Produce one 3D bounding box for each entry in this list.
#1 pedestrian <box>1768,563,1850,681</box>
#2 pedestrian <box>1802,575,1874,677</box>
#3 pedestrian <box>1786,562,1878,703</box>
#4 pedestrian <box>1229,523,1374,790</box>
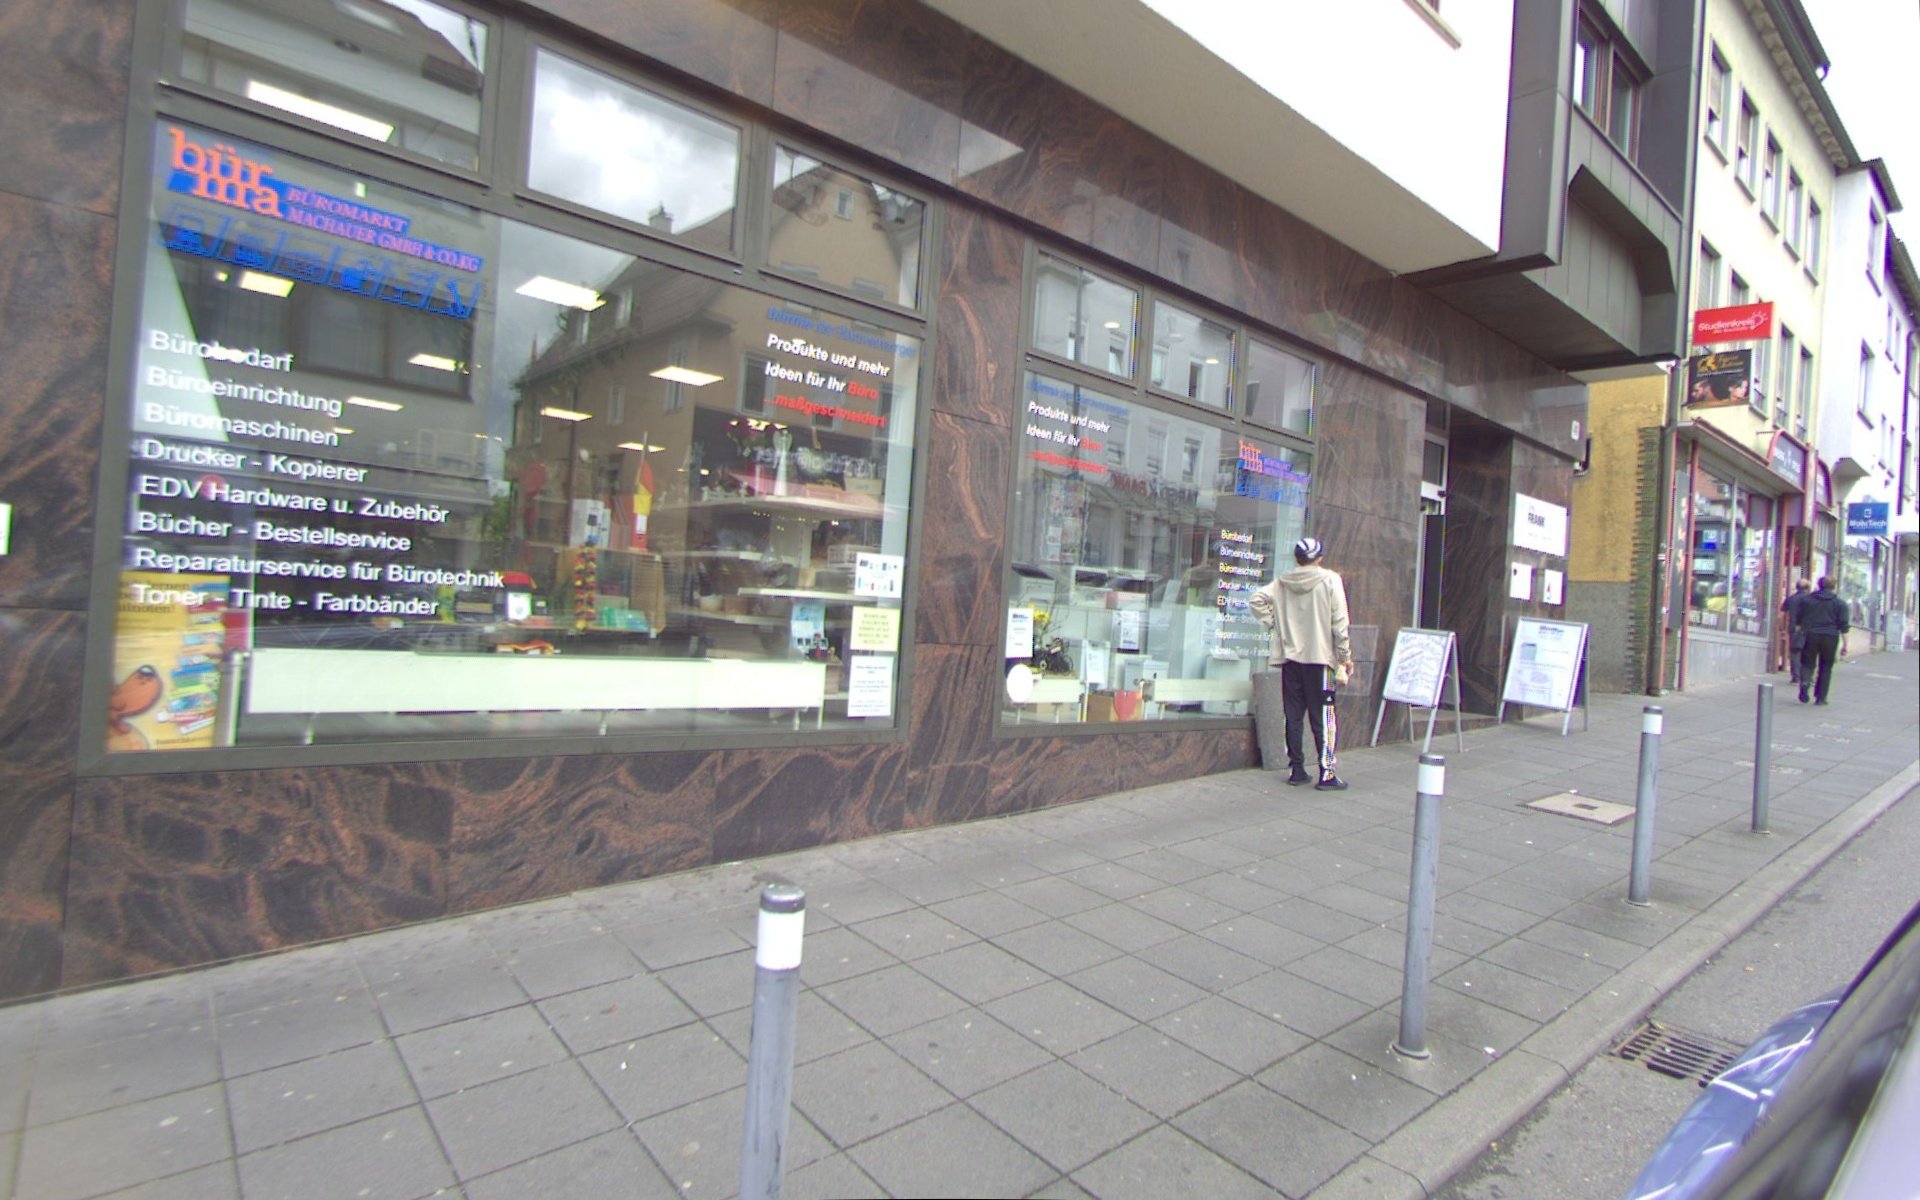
[{"bbox_3d":[13.464,0.333,16.057,0.771,1.773,0.713,1,5,-40],"label":"pedestrian"},{"bbox_3d":[14.990,0.422,17.288,0.820,1.651,0.713,1,3,-40],"label":"pedestrian"},{"bbox_3d":[11.517,0.407,13.372,0.773,1.774,0.713,1,3,-40],"label":"pedestrian"},{"bbox_3d":[2.347,0.354,6.970,0.663,1.709,0.535,7,4,44],"label":"pedestrian"}]
